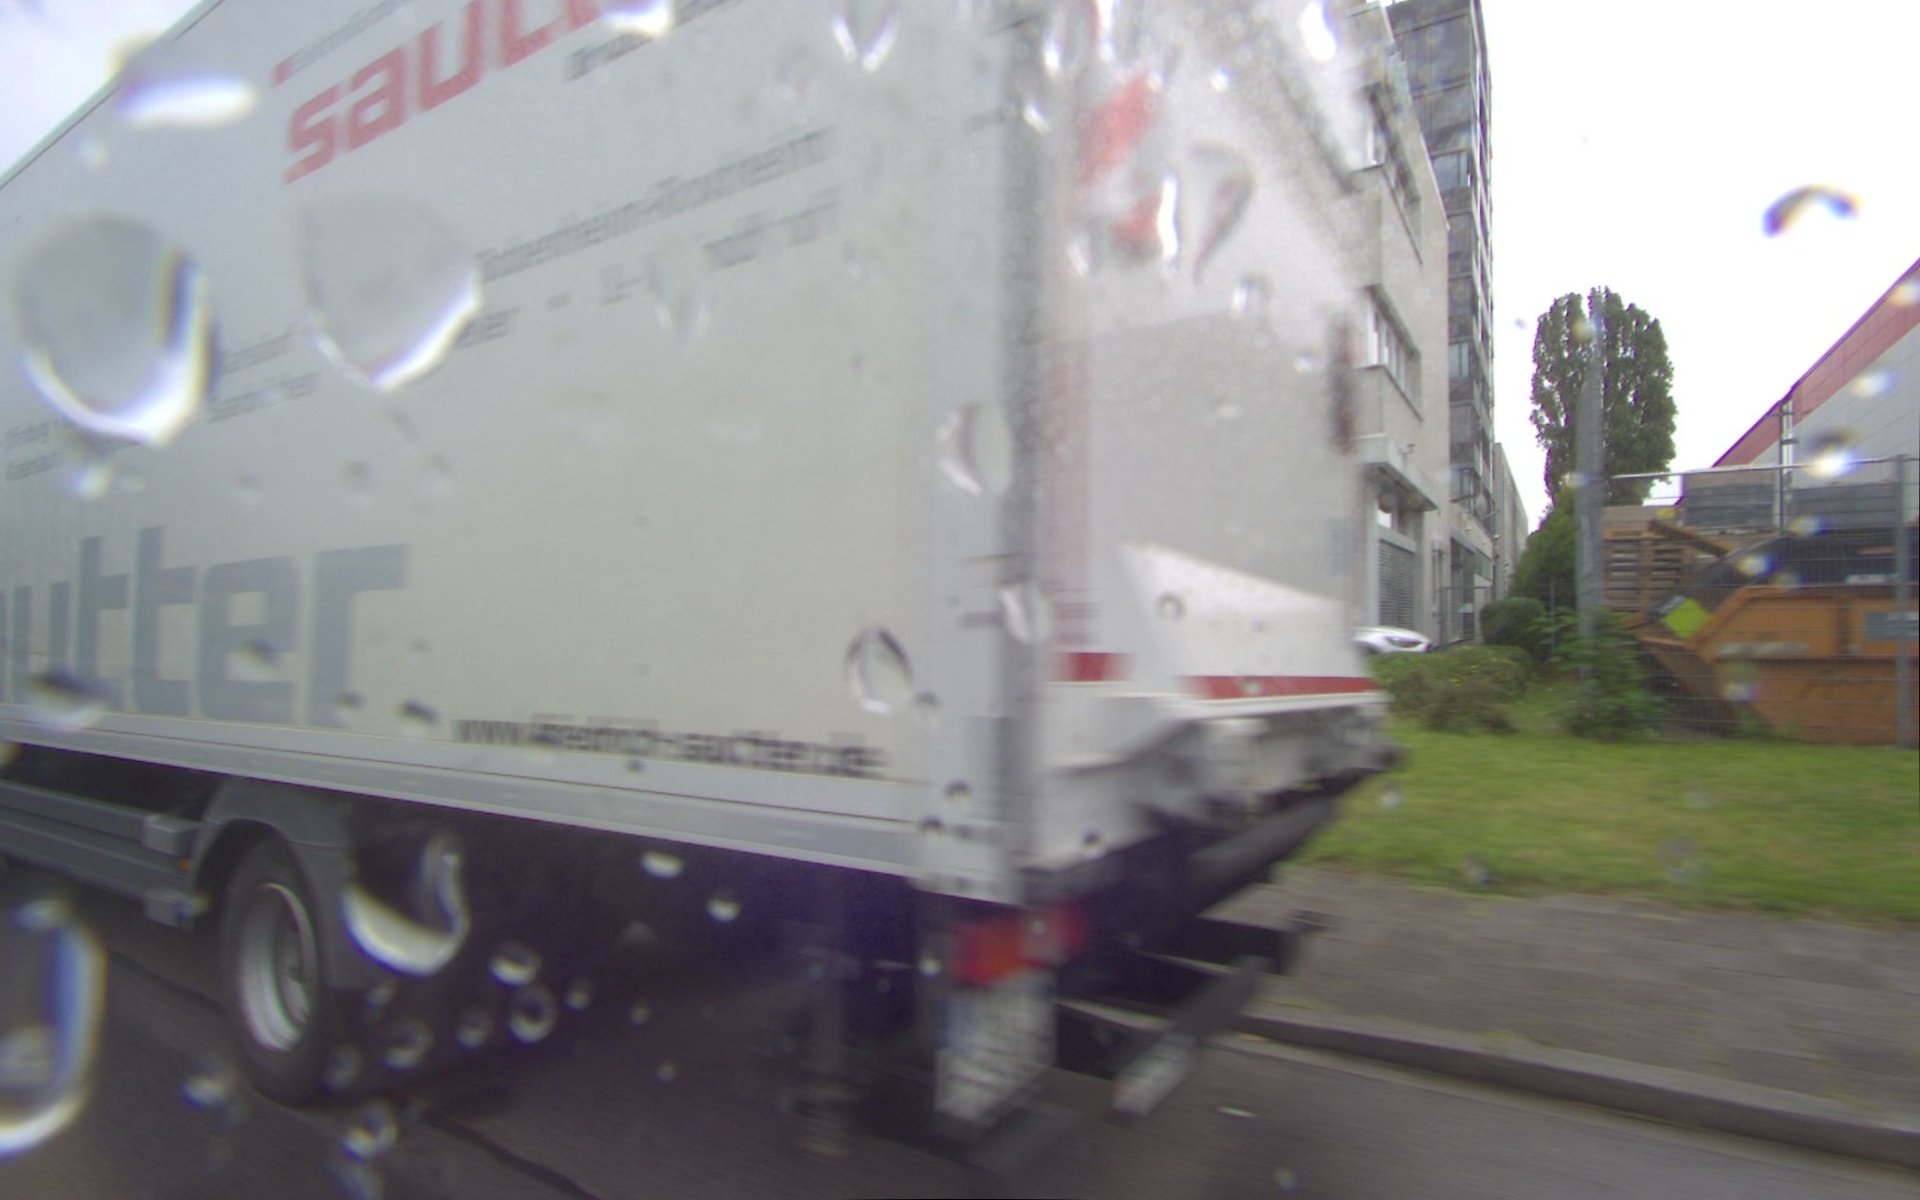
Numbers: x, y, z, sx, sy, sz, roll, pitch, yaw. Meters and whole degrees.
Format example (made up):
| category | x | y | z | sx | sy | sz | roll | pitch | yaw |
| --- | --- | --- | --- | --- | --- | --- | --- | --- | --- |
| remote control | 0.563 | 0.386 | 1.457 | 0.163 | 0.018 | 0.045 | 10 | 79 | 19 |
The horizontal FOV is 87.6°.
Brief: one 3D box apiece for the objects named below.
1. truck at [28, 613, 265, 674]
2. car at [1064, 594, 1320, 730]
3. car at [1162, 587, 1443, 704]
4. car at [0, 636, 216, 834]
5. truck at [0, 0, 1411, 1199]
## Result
| category | x | y | z | sx | sy | sz | roll | pitch | yaw |
| --- | --- | --- | --- | --- | --- | --- | --- | --- | --- |
| truck | -31.514 | 1.623 | 39.125 | 2.066 | 2.167 | 6.907 | -1 | -1 | 34 |
| car | 2.916 | 0.750 | 13.543 | 1.838 | 1.547 | 3.997 | 0 | -1 | -12 |
| car | 5.671 | 0.728 | 16.670 | 4.084 | 1.728 | 1.990 | -2 | -1 | 32 |
| car | -8.760 | 1.087 | 9.120 | 4.283 | 1.460 | 1.794 | -2 | -1 | 33 |
| truck | -2.871 | -0.292 | 5.147 | 9.170 | 3.836 | 2.737 | -1 | -4 | 33 |
